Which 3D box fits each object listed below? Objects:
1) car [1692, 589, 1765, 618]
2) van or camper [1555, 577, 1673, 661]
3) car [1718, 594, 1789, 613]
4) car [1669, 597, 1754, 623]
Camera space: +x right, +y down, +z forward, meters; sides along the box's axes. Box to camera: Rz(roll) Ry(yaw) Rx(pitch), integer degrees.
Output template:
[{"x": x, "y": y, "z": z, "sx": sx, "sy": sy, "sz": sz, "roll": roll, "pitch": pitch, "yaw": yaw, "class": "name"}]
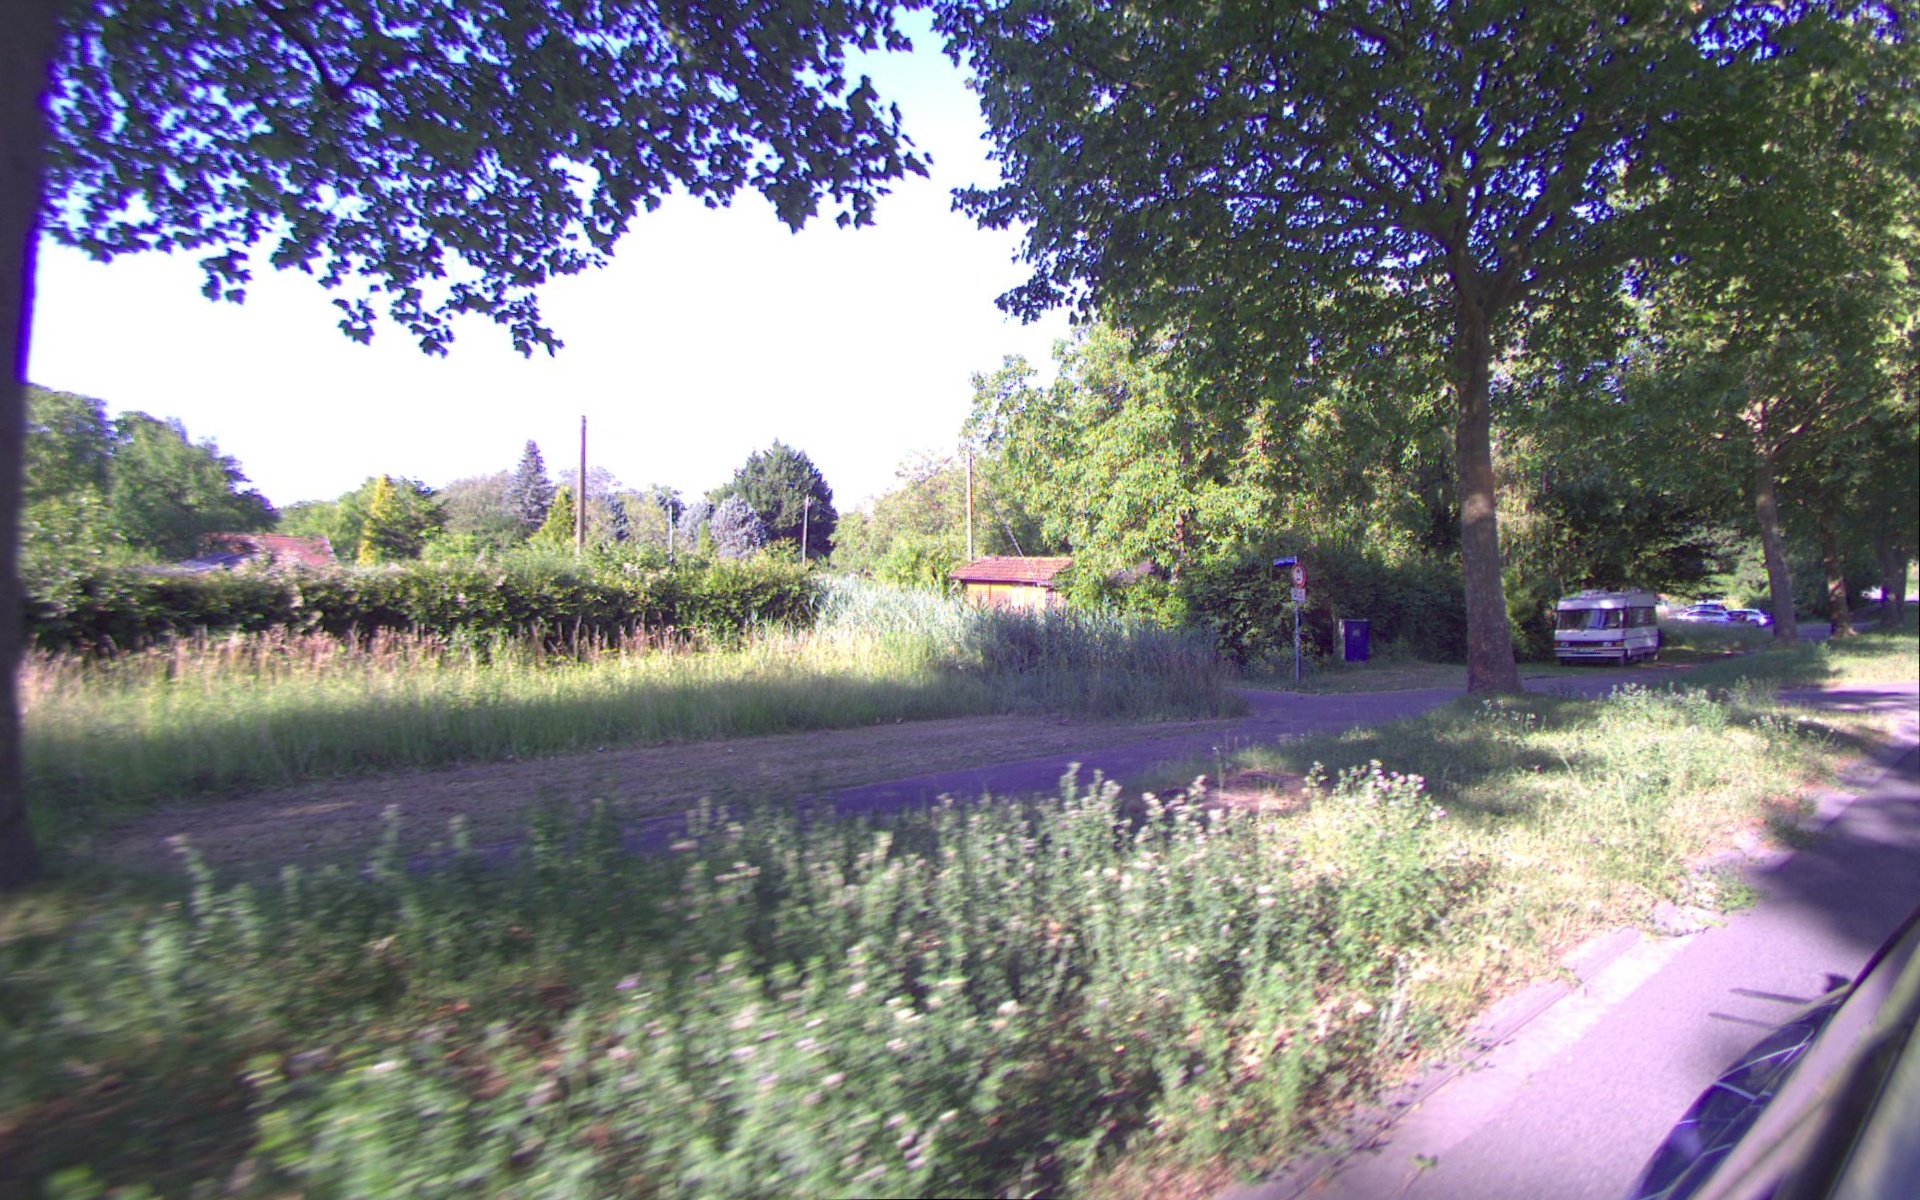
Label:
[{"x": 57.420, "y": 0.242, "z": 75.671, "sx": 1.963, "sy": 2.039, "sz": 3.999, "roll": -1, "pitch": 1, "yaw": -36, "class": "car"}, {"x": 24.104, "y": 0.596, "z": 37.209, "sx": 5.590, "sy": 2.834, "sz": 2.383, "roll": -1, "pitch": 1, "yaw": -43, "class": "van or camper"}, {"x": 62.249, "y": 0.231, "z": 79.460, "sx": 1.963, "sy": 1.404, "sz": 3.999, "roll": -1, "pitch": 1, "yaw": -36, "class": "car"}, {"x": 53.204, "y": 0.694, "z": 71.725, "sx": 1.963, "sy": 1.691, "sz": 4.515, "roll": -1, "pitch": 1, "yaw": -36, "class": "car"}]
